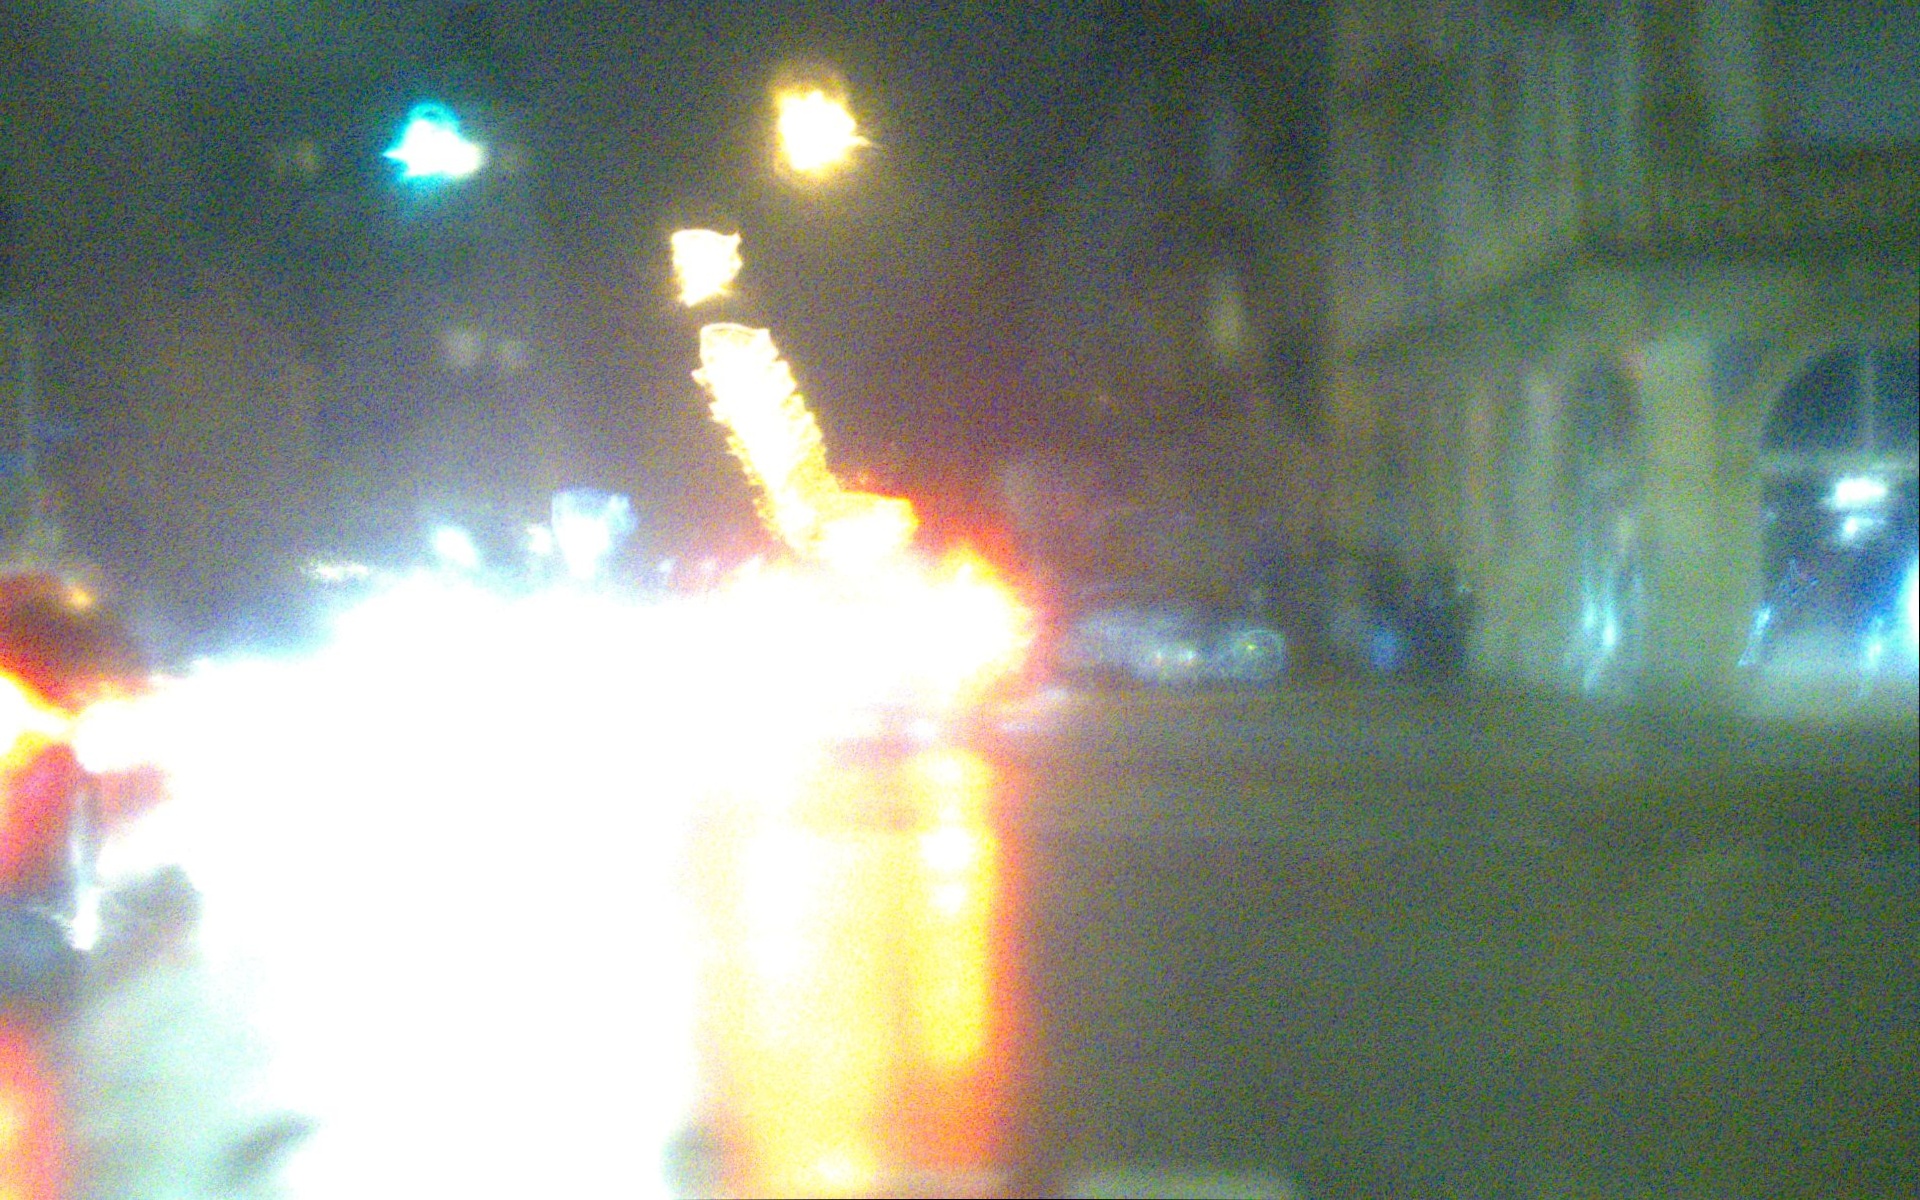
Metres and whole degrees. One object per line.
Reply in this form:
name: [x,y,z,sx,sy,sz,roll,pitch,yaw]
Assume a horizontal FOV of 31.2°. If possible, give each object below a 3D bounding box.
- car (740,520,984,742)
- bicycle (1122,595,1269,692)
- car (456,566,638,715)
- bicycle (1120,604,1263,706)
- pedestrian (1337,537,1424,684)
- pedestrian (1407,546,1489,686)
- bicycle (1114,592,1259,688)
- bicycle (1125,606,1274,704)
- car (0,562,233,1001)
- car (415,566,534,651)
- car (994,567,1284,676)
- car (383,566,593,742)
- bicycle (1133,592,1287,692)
car: [-0.967,0.271,33.109,2.168,1.965,4.302,-1,0,-2]
bicycle: [3.249,0.600,47.431,1.896,1.247,0.596,-2,0,-7]
car: [-4.525,0.422,38.122,1.668,1.557,4.008,0,0,-2]
bicycle: [3.284,0.779,48.831,1.896,1.355,0.596,-2,0,-7]
pedestrian: [5.461,0.125,44.696,0.957,1.875,1.000,-1,0,-2]
pedestrian: [5.700,0.179,40.199,0.781,1.612,1.000,-1,0,-2]
bicycle: [3.165,0.554,48.059,1.896,1.247,0.596,-2,0,-7]
bicycle: [3.253,0.740,46.757,1.896,1.247,0.596,-2,0,-7]
car: [-4.303,0.636,14.334,1.817,1.537,4.727,0,0,-4]
car: [-11.607,0.189,81.995,1.990,1.965,4.303,0,0,-20]
car: [2.721,0.299,51.776,4.174,1.452,1.856,-3,1,-40]
car: [-4.355,0.468,32.159,1.706,1.537,3.989,0,0,-4]
bicycle: [3.338,0.559,45.938,1.896,1.247,0.710,-2,0,-7]
